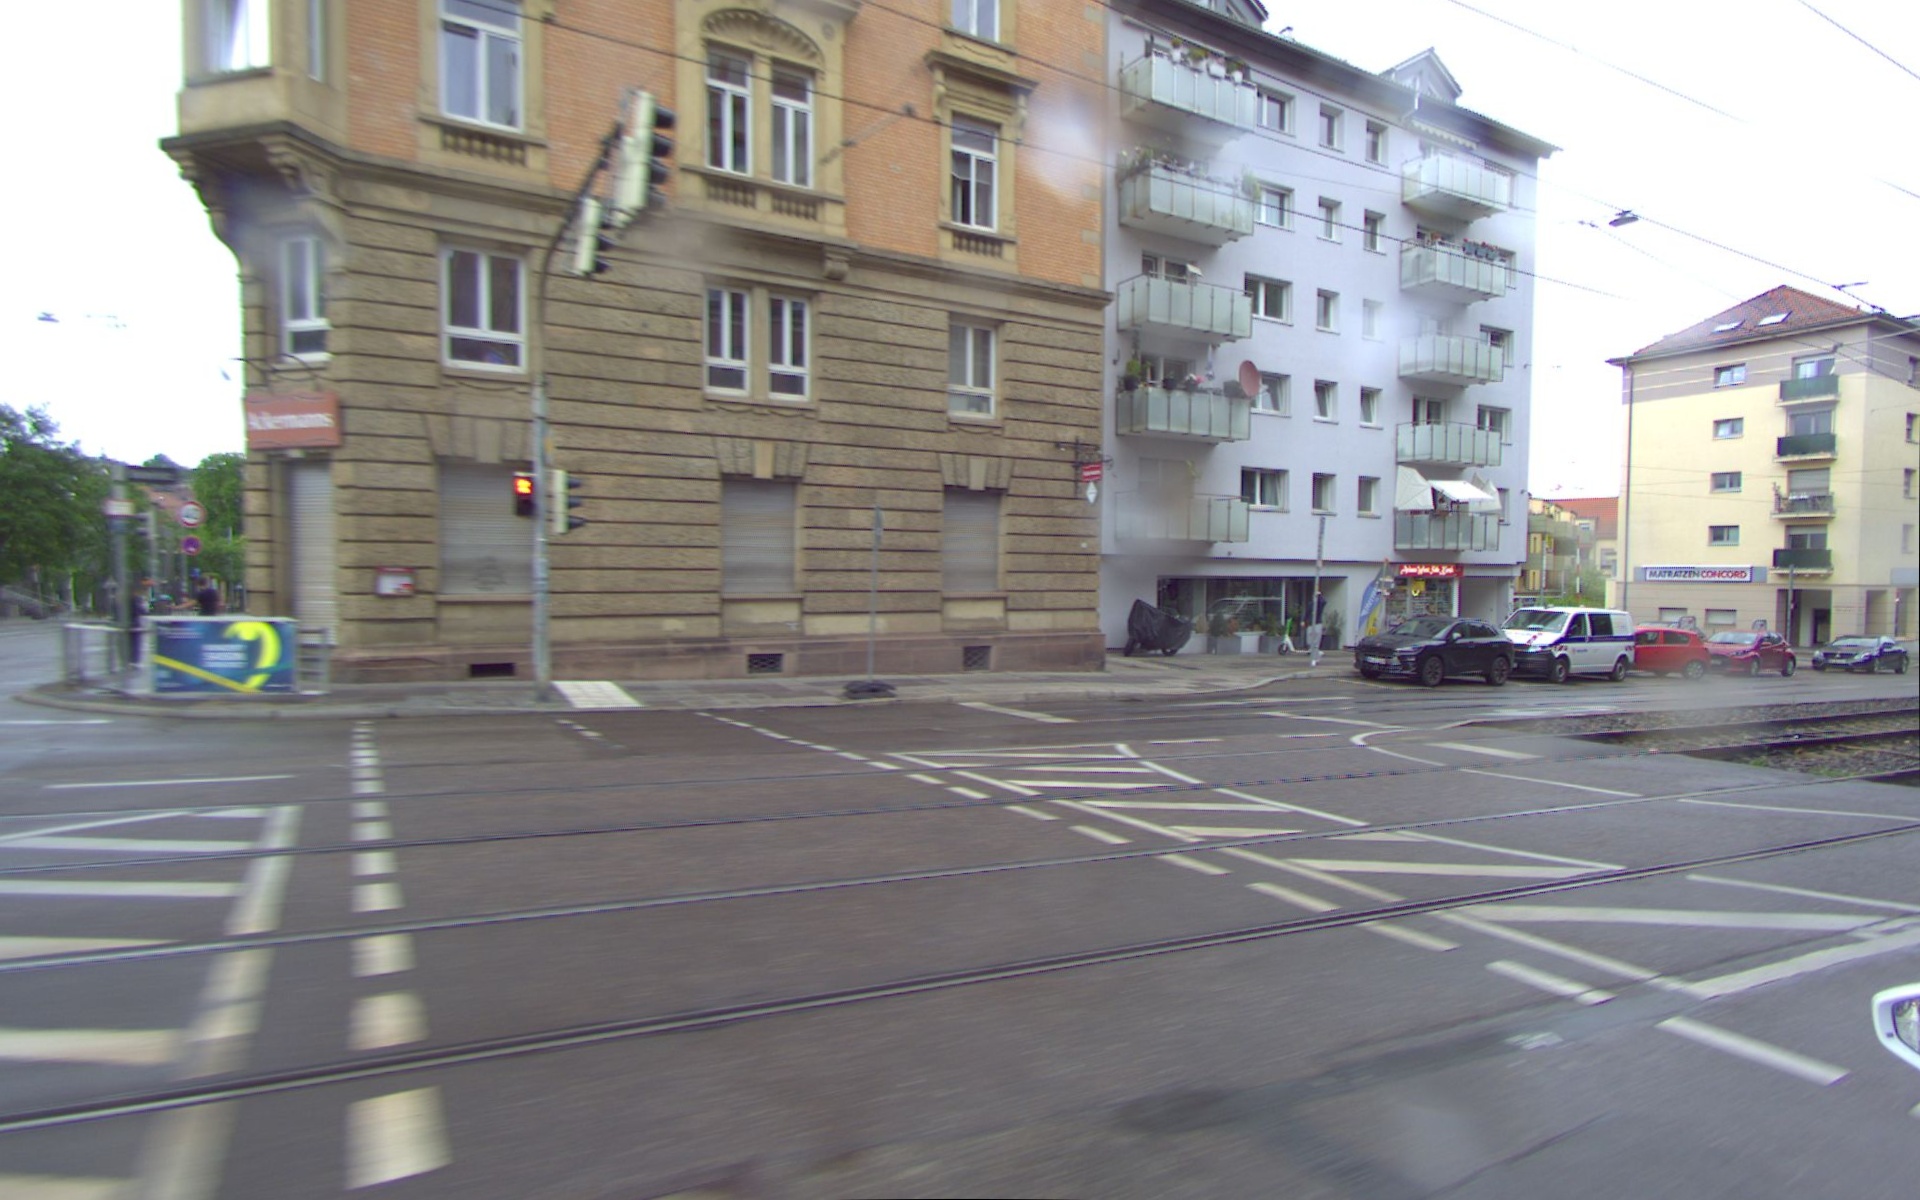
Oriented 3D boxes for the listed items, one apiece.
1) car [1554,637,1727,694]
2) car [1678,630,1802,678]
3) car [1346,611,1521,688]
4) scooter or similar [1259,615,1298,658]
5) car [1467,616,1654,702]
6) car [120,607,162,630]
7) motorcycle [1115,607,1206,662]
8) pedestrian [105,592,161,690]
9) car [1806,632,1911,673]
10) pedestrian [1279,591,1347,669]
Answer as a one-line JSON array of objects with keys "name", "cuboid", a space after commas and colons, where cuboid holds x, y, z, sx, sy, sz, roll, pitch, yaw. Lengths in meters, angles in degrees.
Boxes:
[{"name": "car", "cuboid": [20.376, 1.942, 30.208, 3.902, 1.453, 1.786, 2, 0, 4]}, {"name": "car", "cuboid": [25.466, 1.765, 32.783, 4.022, 1.470, 1.647, 2, -1, -27]}, {"name": "car", "cuboid": [11.508, 1.180, 24.344, 4.314, 1.673, 1.724, 2, 0, -31]}, {"name": "scooter or similar", "cuboid": [9.344, 1.082, 29.486, 0.314, 1.225, 1.080, 2, -4, -40]}, {"name": "car", "cuboid": [16.503, 1.558, 27.533, 5.240, 2.036, 2.059, 1, 3, -31]}, {"name": "car", "cuboid": [-62.640, 1.404, 76.881, 1.797, 1.610, 3.968, 2, -1, -30]}, {"name": "motorcycle", "cuboid": [5.280, 0.917, 26.421, 2.282, 1.394, 0.924, 2, -1, -30]}, {"name": "pedestrian", "cuboid": [-15.489, 0.750, 18.823, 0.618, 1.791, 0.637, -1, 1, 38]}, {"name": "car", "cuboid": [33.479, 1.951, 37.397, 4.571, 1.414, 1.671, 2, -1, -32]}, {"name": "pedestrian", "cuboid": [9.116, 0.758, 25.927, 1.167, 1.954, 1.163, 2, 0, -38]}]
